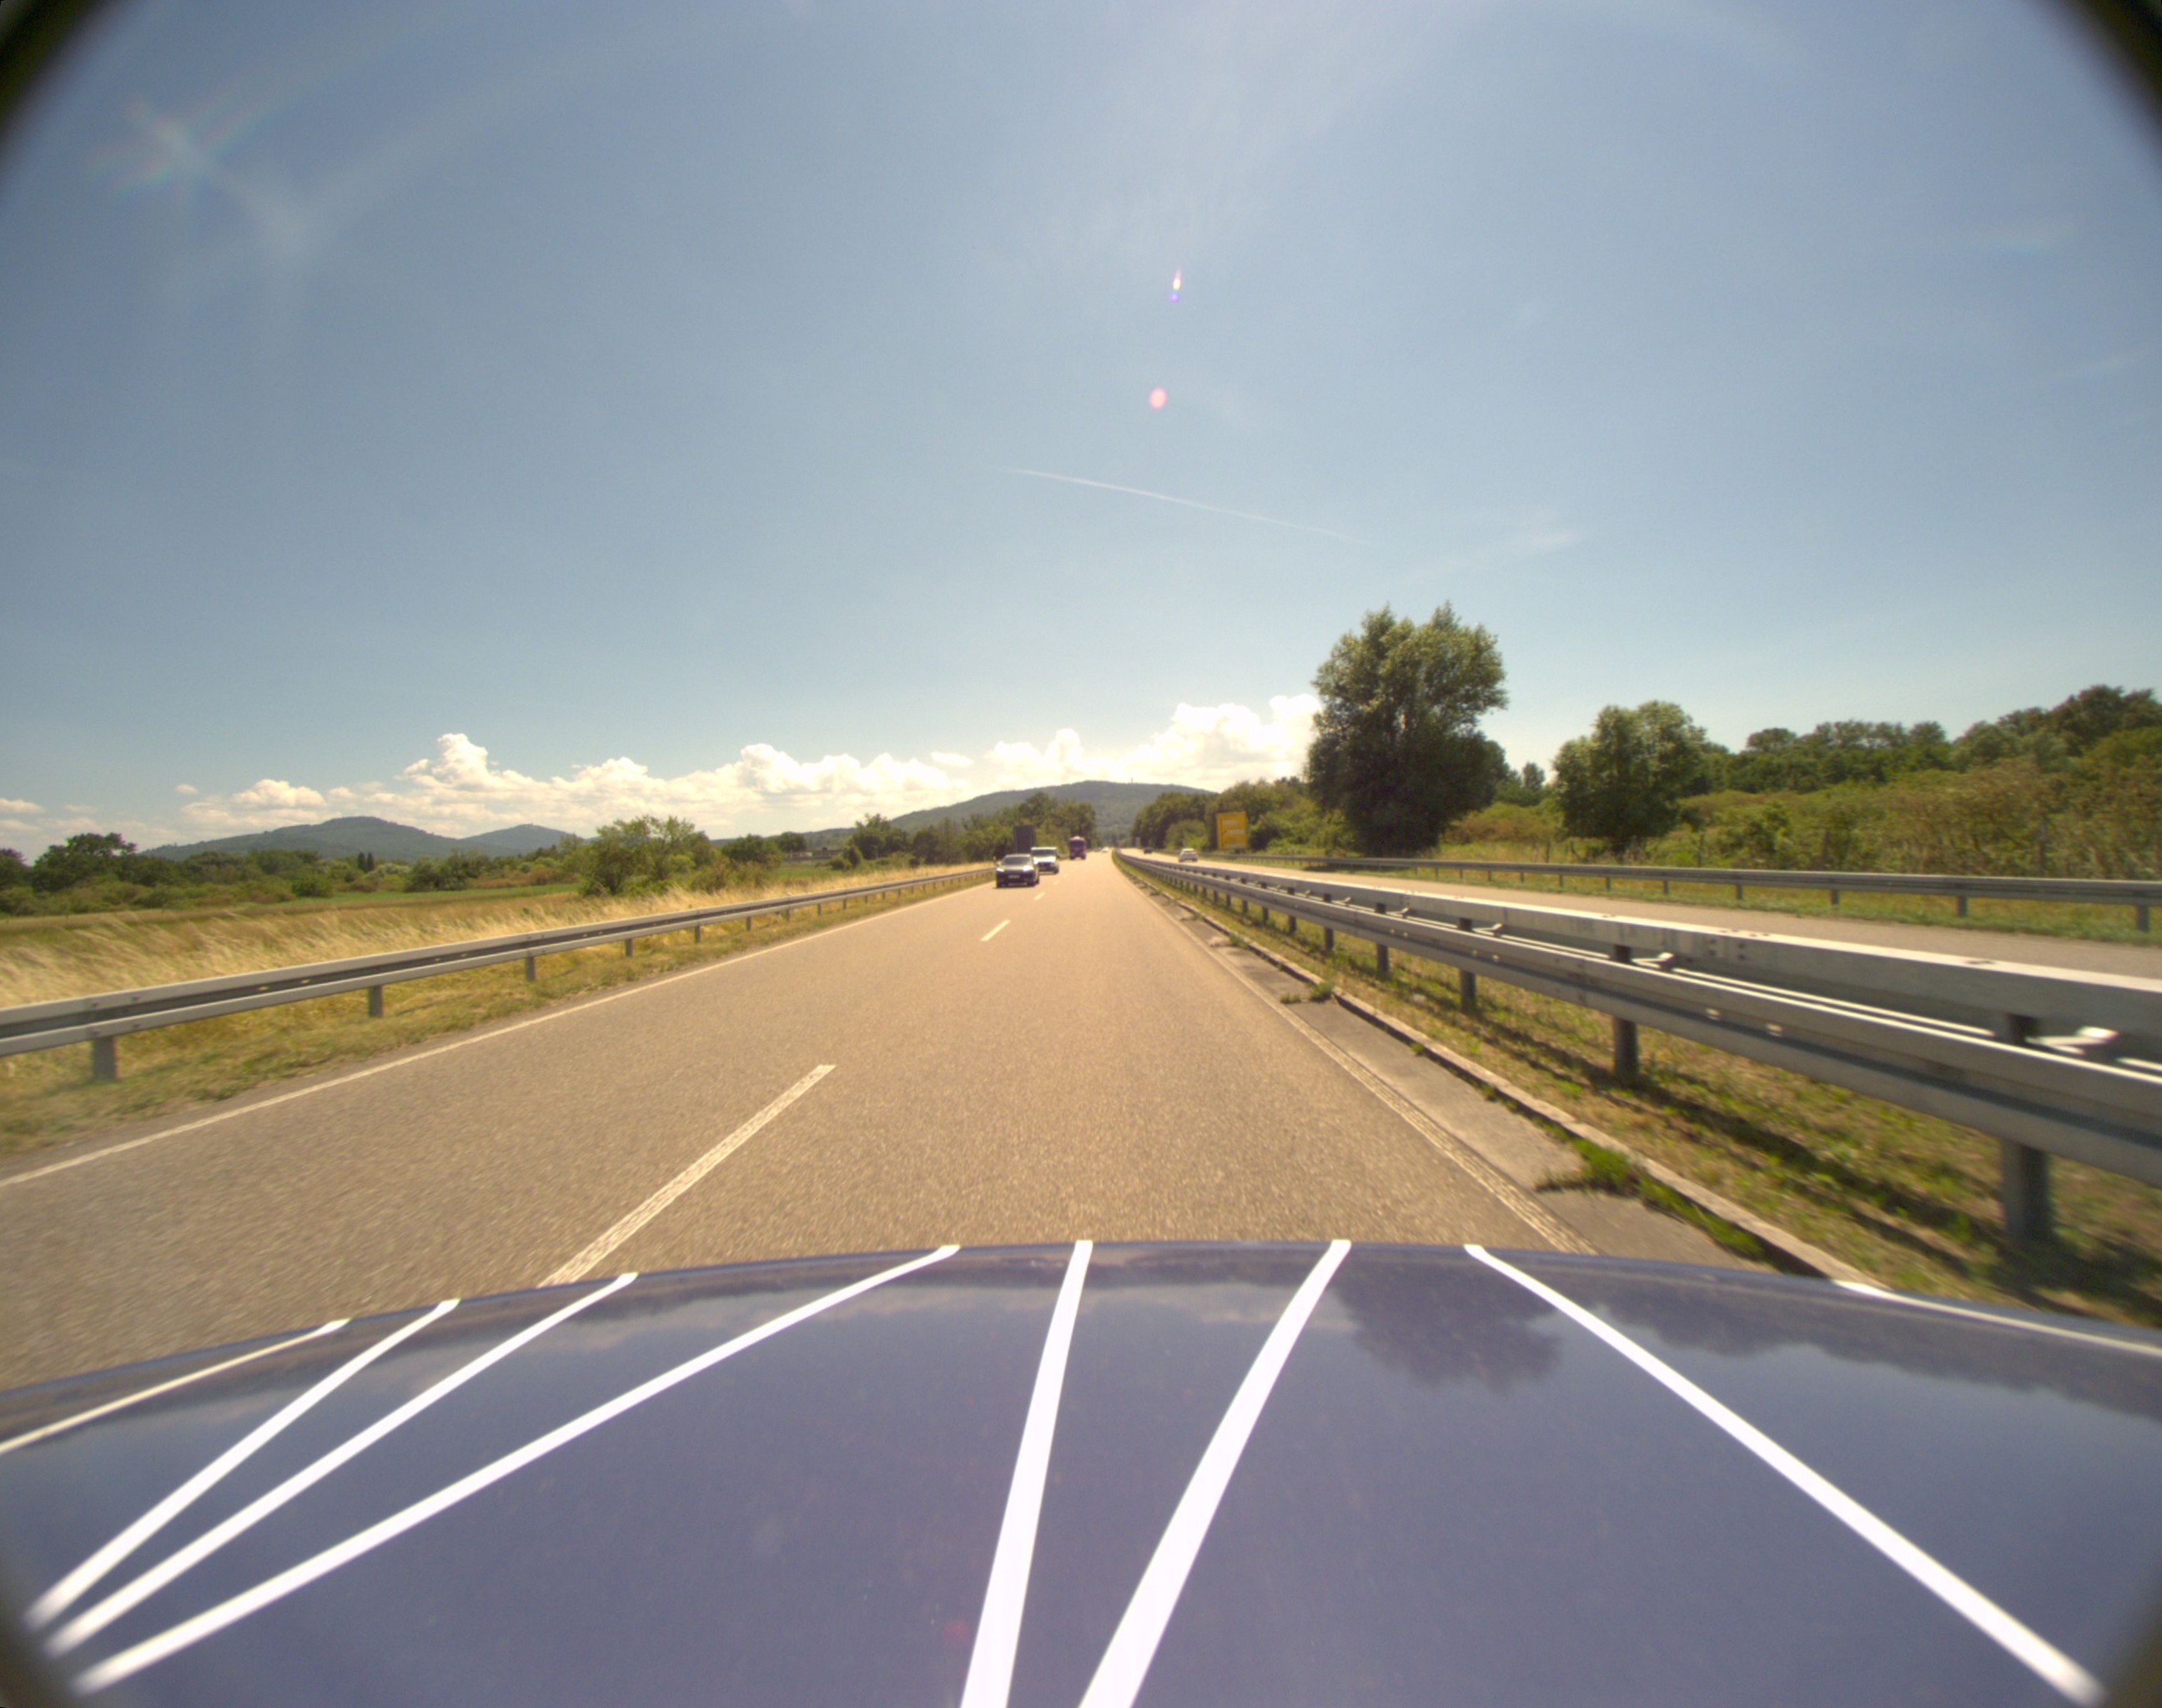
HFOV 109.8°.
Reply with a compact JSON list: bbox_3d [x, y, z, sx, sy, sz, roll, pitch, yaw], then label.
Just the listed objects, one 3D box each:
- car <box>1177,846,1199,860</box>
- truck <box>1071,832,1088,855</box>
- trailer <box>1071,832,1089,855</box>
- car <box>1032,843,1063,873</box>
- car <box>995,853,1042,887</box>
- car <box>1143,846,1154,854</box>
[{"bbox_3d":[11.803,-0.123,84.202,1.831,1.489,4.102,-3,1,1],"label":"car"},{"bbox_3d":[-0.252,-1.784,127.206,2.604,3.670,5.939,-2,0,2],"label":"truck"},{"bbox_3d":[-0.087,-1.756,131.811,2.604,3.608,8.615,-2,0,2],"label":"trailer"},{"bbox_3d":[-2.418,0.268,55.913,2.011,1.977,5.034,-3,0,0],"label":"car"},{"bbox_3d":[-2.957,0.727,36.669,1.789,1.544,4.019,-1,0,1],"label":"car"},{"bbox_3d":[15.351,-0.823,172.405,1.998,1.627,4.874,-5,0,2],"label":"car"}]
